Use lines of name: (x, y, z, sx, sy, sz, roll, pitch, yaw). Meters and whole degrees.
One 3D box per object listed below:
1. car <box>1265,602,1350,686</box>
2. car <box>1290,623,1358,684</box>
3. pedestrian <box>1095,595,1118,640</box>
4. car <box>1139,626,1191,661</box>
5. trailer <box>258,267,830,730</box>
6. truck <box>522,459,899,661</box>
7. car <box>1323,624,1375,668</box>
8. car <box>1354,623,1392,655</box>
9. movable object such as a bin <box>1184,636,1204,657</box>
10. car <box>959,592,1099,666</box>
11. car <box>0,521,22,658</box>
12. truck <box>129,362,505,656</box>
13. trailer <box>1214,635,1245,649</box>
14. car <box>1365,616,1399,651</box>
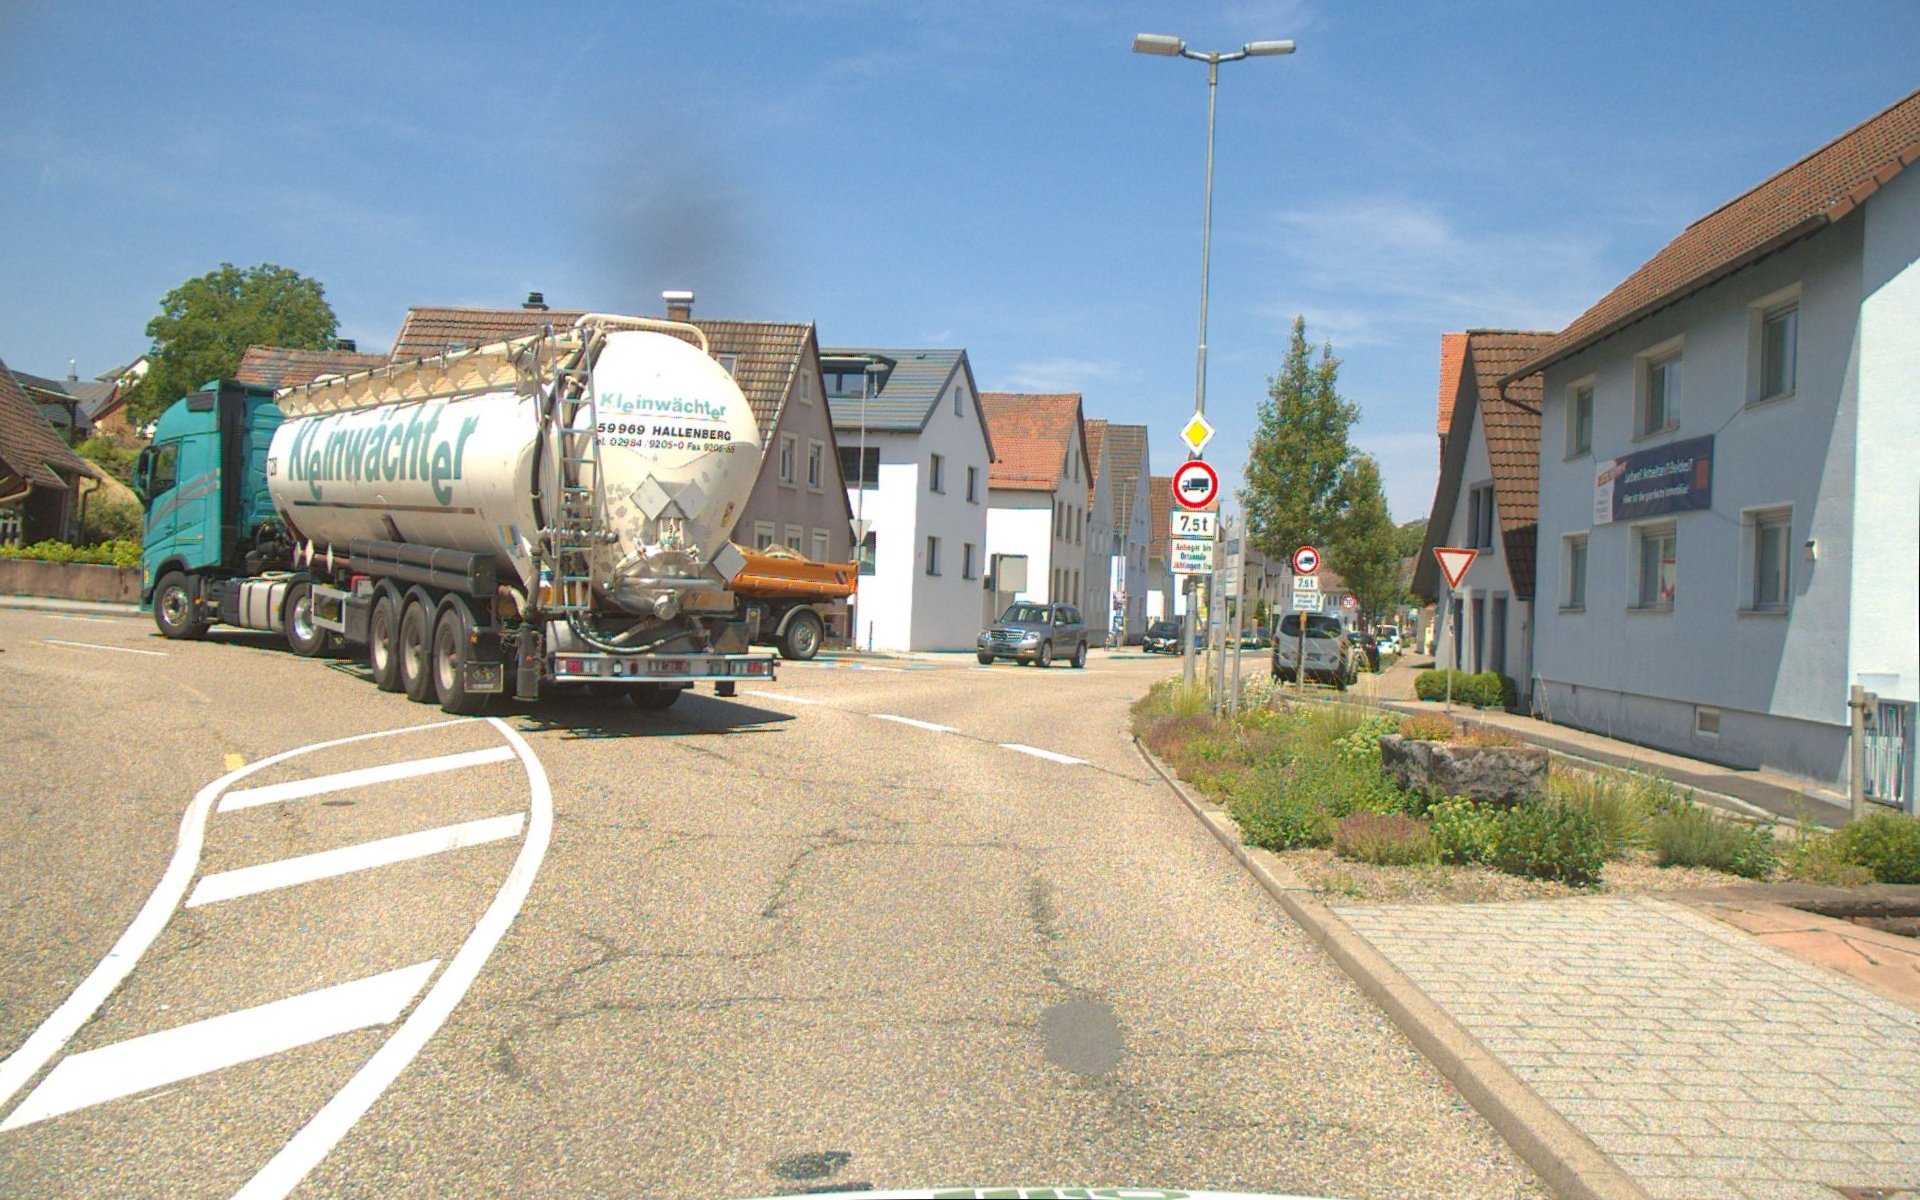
car: (9.008, 1.168, 42.684, 1.951, 1.945, 4.327, 3, -2, 13)
car: (11.030, 1.590, 49.985, 1.779, 1.663, 4.210, 2, 0, 15)
pedestrian: (6.936, 0.823, 78.217, 0.753, 2.048, 0.976, 3, 0, 22)
car: (10.463, 2.192, 84.212, 1.682, 1.623, 4.000, 3, 0, 21)
trailer: (-5.724, -1.009, 20.059, 2.926, 4.016, 11.485, 4, 0, -33)
truck: (-4.574, -0.619, 32.000, 2.617, 3.237, 7.433, 2, -2, 36)
car: (15.877, 1.841, 67.452, 1.951, 1.612, 4.003, 3, 0, 14)
car: (23.392, 2.192, 93.671, 1.951, 1.612, 4.003, 3, 0, 14)
movable object such as a bin: (12.635, 2.477, 89.157, 0.900, 1.067, 0.944, 3, 0, 16)
car: (1.858, 0.784, 43.012, 1.955, 1.704, 4.307, 3, -1, 27)
car: (-15.010, -0.272, 22.170, 4.416, 1.816, 1.879, 3, 1, 23)
truck: (-10.063, -1.343, 25.735, 5.475, 4.034, 2.982, 3, 0, 39)
trailer: (18.290, 2.856, 112.211, 1.909, 0.791, 2.722, 4, 0, 7)
car: (26.735, 2.110, 104.844, 1.951, 2.026, 4.003, 3, 0, 14)
